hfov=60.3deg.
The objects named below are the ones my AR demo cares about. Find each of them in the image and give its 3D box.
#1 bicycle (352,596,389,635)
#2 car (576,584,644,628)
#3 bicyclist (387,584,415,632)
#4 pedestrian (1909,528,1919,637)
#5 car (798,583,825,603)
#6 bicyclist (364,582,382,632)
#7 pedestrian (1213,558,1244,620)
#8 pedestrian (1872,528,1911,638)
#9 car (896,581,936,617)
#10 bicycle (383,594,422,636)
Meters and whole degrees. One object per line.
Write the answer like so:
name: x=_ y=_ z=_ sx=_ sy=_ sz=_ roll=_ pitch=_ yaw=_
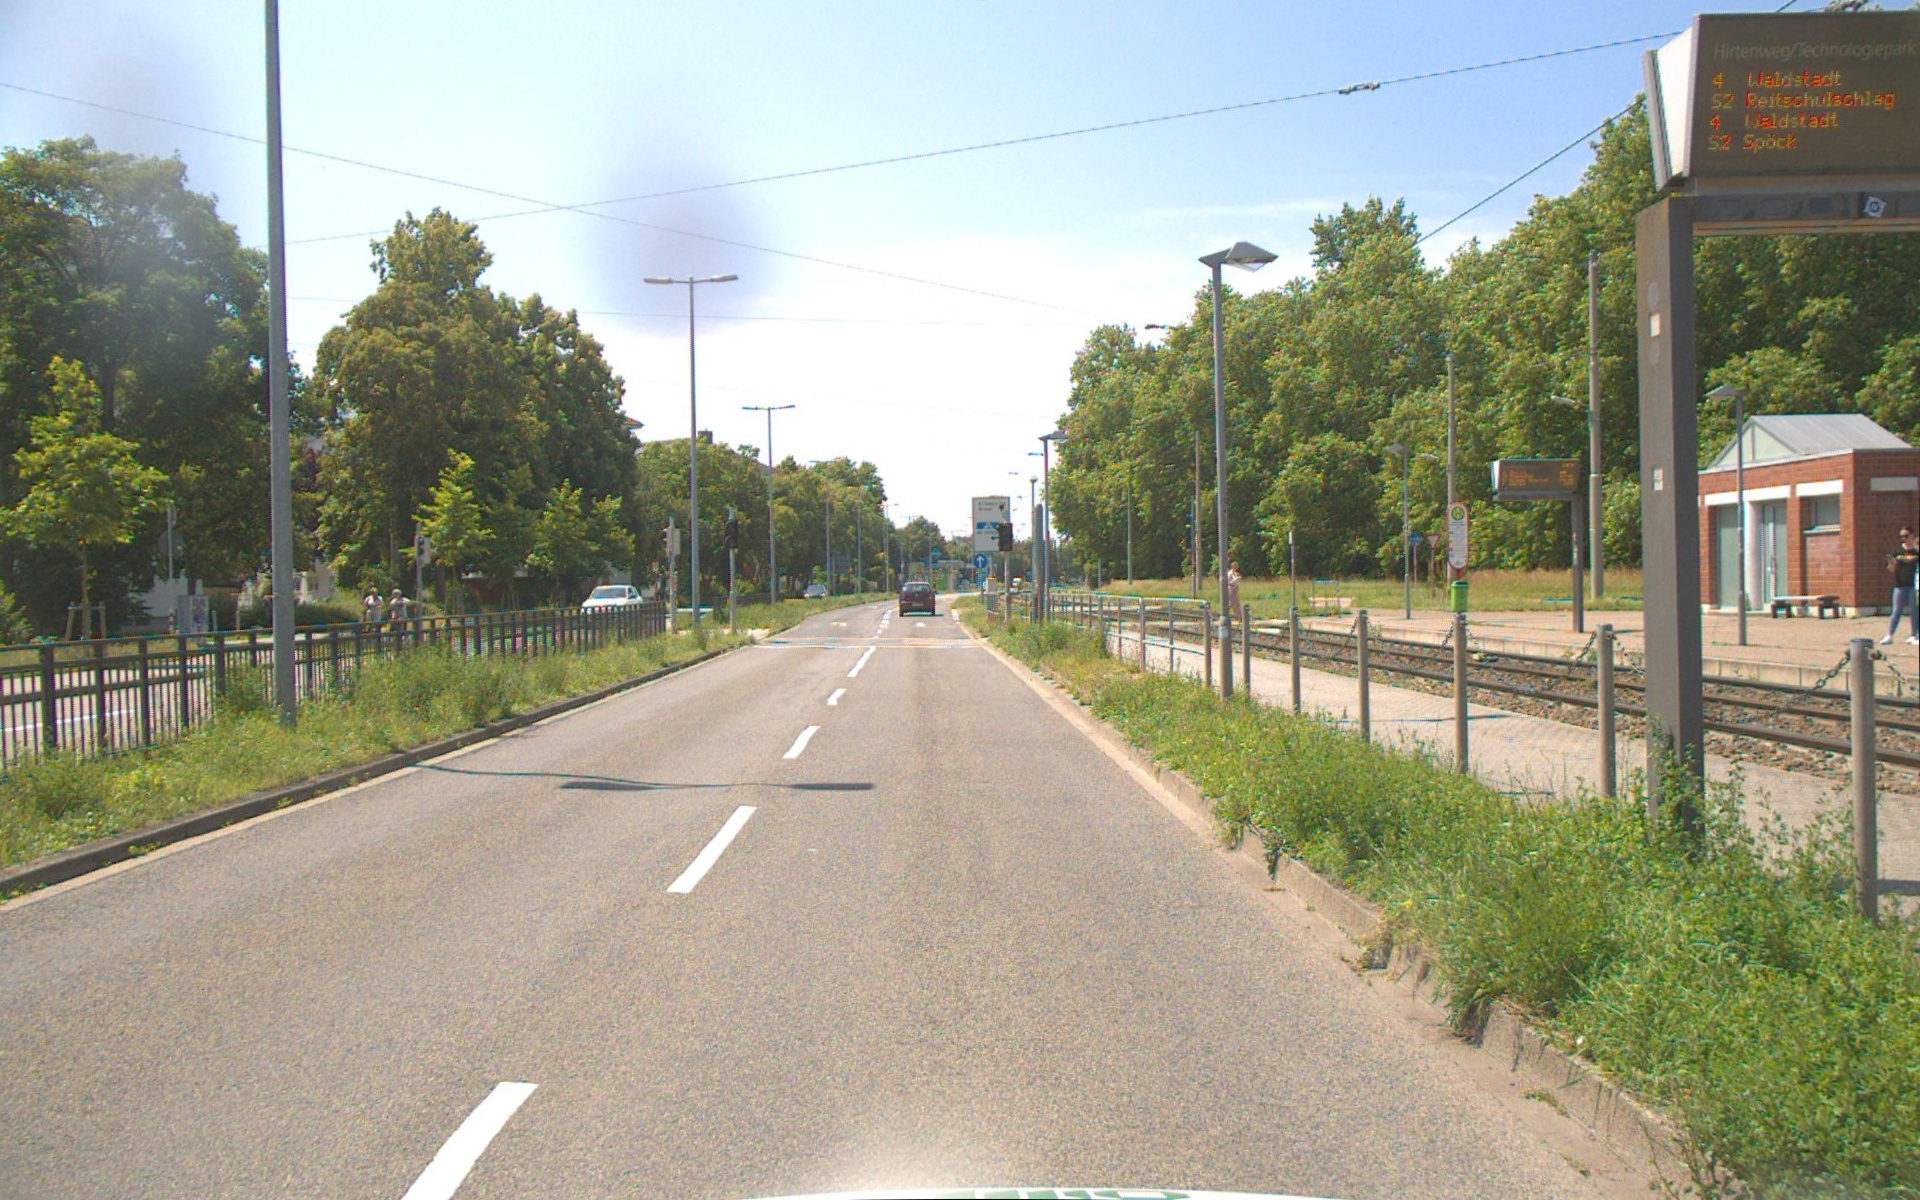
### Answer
bicycle: x=-16.887 y=0.440 z=47.386 sx=0.542 sy=1.113 sz=1.379 roll=0 pitch=0 yaw=0
car: x=-13.558 y=0.202 z=64.259 sx=1.784 sy=1.600 sz=4.346 roll=-2 pitch=0 yaw=-2
bicyclist: x=-16.021 y=0.225 z=47.405 sx=0.534 sy=1.369 sz=0.755 roll=-2 pitch=0 yaw=-2
pedestrian: x=14.446 y=-0.257 z=24.627 sx=0.353 sy=1.624 sz=0.483 roll=0 pitch=-1 yaw=1
car: x=-11.724 y=-0.567 z=130.642 sx=1.720 sy=1.570 sz=4.160 roll=-2 pitch=1 yaw=-1
bicyclist: x=-16.867 y=0.197 z=47.513 sx=0.350 sy=1.416 sz=0.440 roll=1 pitch=0 yaw=1
pedestrian: x=7.857 y=-0.310 z=48.424 sx=0.624 sy=1.790 sz=0.813 roll=0 pitch=-1 yaw=-15
pedestrian: x=14.316 y=-0.251 z=25.427 sx=0.353 sy=1.675 sz=0.445 roll=0 pitch=-1 yaw=1
car: x=-1.944 y=-0.068 z=73.372 sx=1.668 sy=1.503 sz=3.716 roll=-2 pitch=0 yaw=-1
bicycle: x=-16.035 y=0.425 z=47.622 sx=0.576 sy=1.153 sz=1.615 roll=-2 pitch=0 yaw=-1
